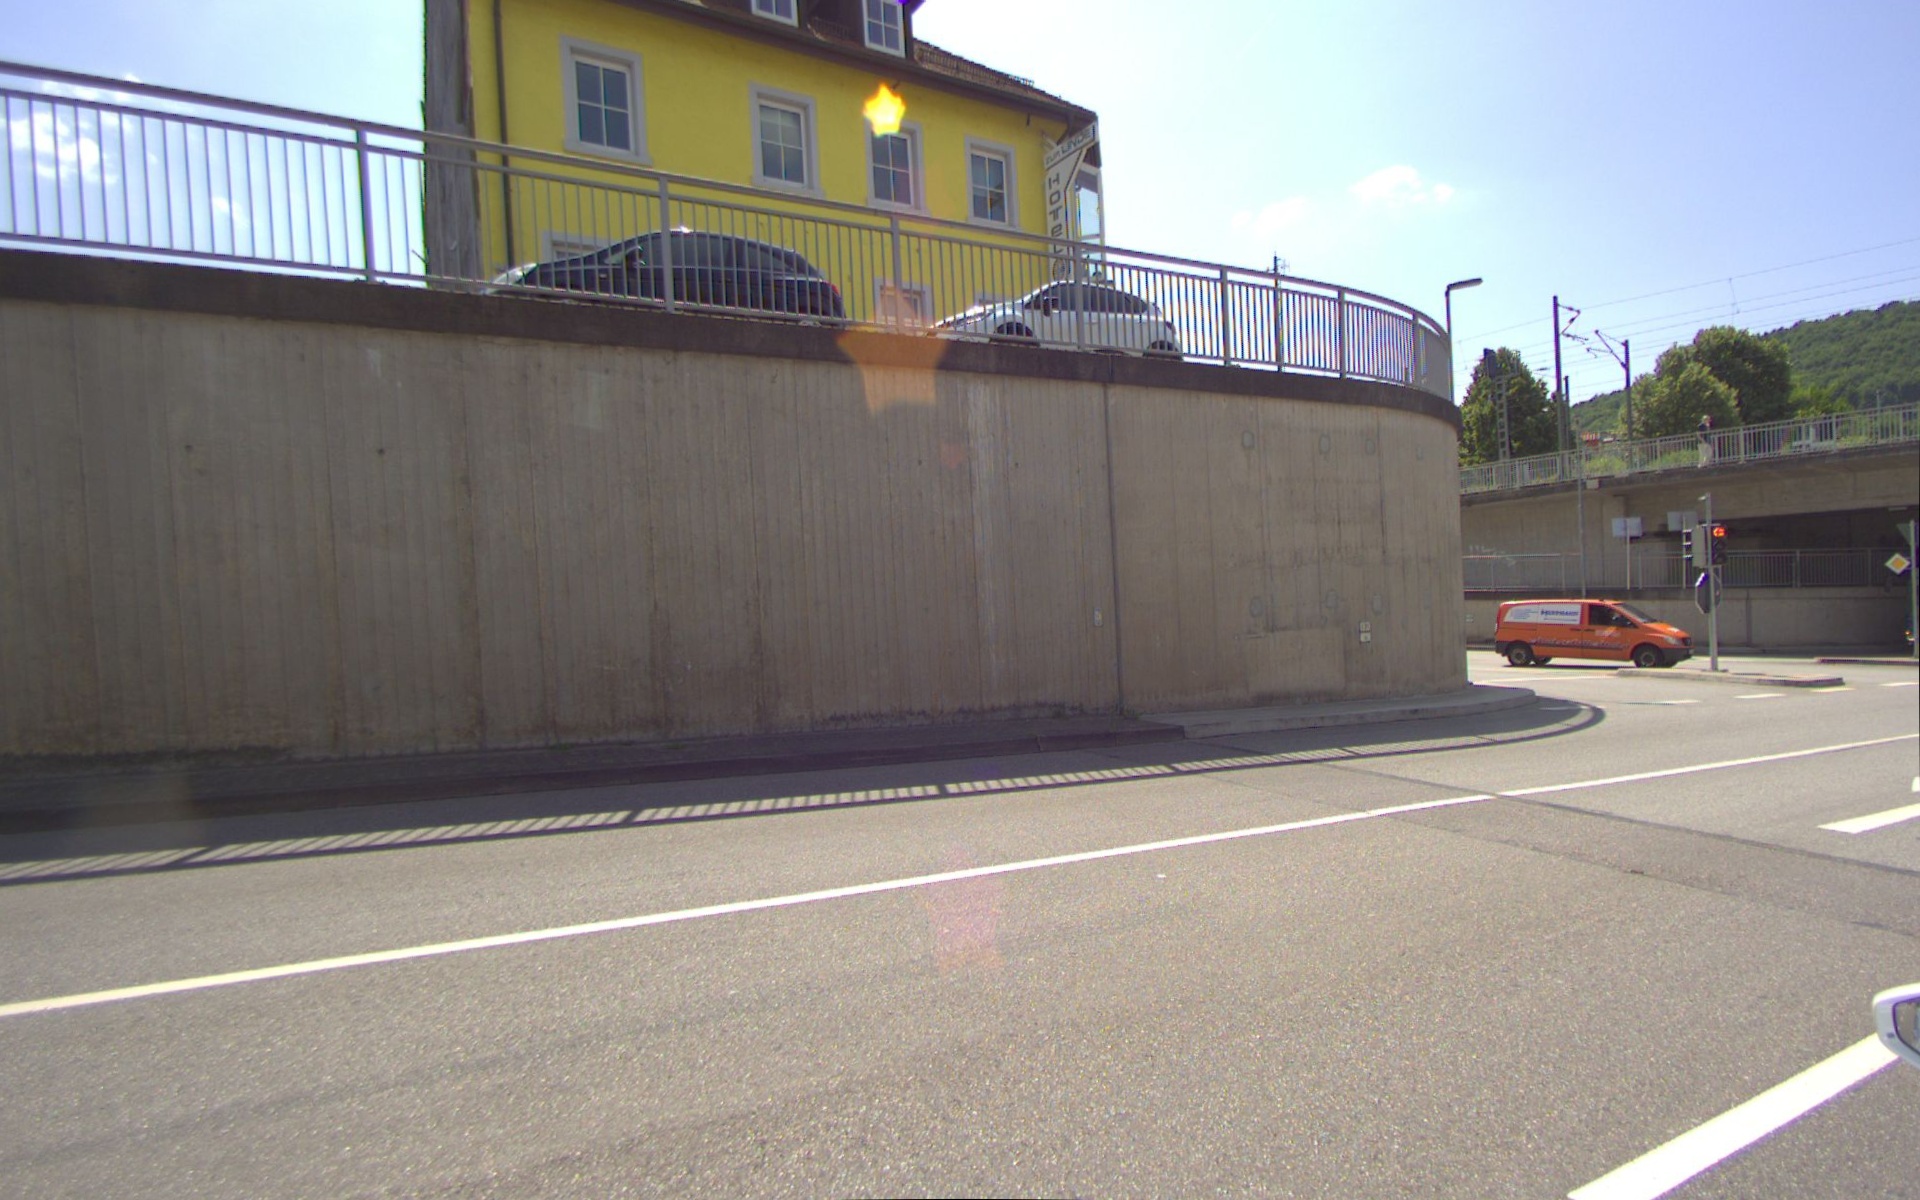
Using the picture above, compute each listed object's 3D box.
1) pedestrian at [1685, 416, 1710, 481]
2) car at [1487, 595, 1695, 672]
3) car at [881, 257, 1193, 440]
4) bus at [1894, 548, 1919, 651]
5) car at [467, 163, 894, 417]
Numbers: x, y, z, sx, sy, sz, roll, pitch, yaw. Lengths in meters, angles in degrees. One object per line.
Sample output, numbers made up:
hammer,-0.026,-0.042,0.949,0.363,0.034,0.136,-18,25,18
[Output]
pedestrian,25.547,-5.243,34.808,0.531,2.108,0.571,0,-1,-40
car,17.801,0.901,28.547,1.863,1.958,4.666,-2,1,-39
car,1.111,-3.318,13.938,3.955,1.690,1.892,-2,1,-32
bus,35.779,-0.203,32.304,12.173,3.215,2.580,-2,1,-16
car,-3.006,-3.185,11.092,4.176,1.728,1.812,-2,1,-33
